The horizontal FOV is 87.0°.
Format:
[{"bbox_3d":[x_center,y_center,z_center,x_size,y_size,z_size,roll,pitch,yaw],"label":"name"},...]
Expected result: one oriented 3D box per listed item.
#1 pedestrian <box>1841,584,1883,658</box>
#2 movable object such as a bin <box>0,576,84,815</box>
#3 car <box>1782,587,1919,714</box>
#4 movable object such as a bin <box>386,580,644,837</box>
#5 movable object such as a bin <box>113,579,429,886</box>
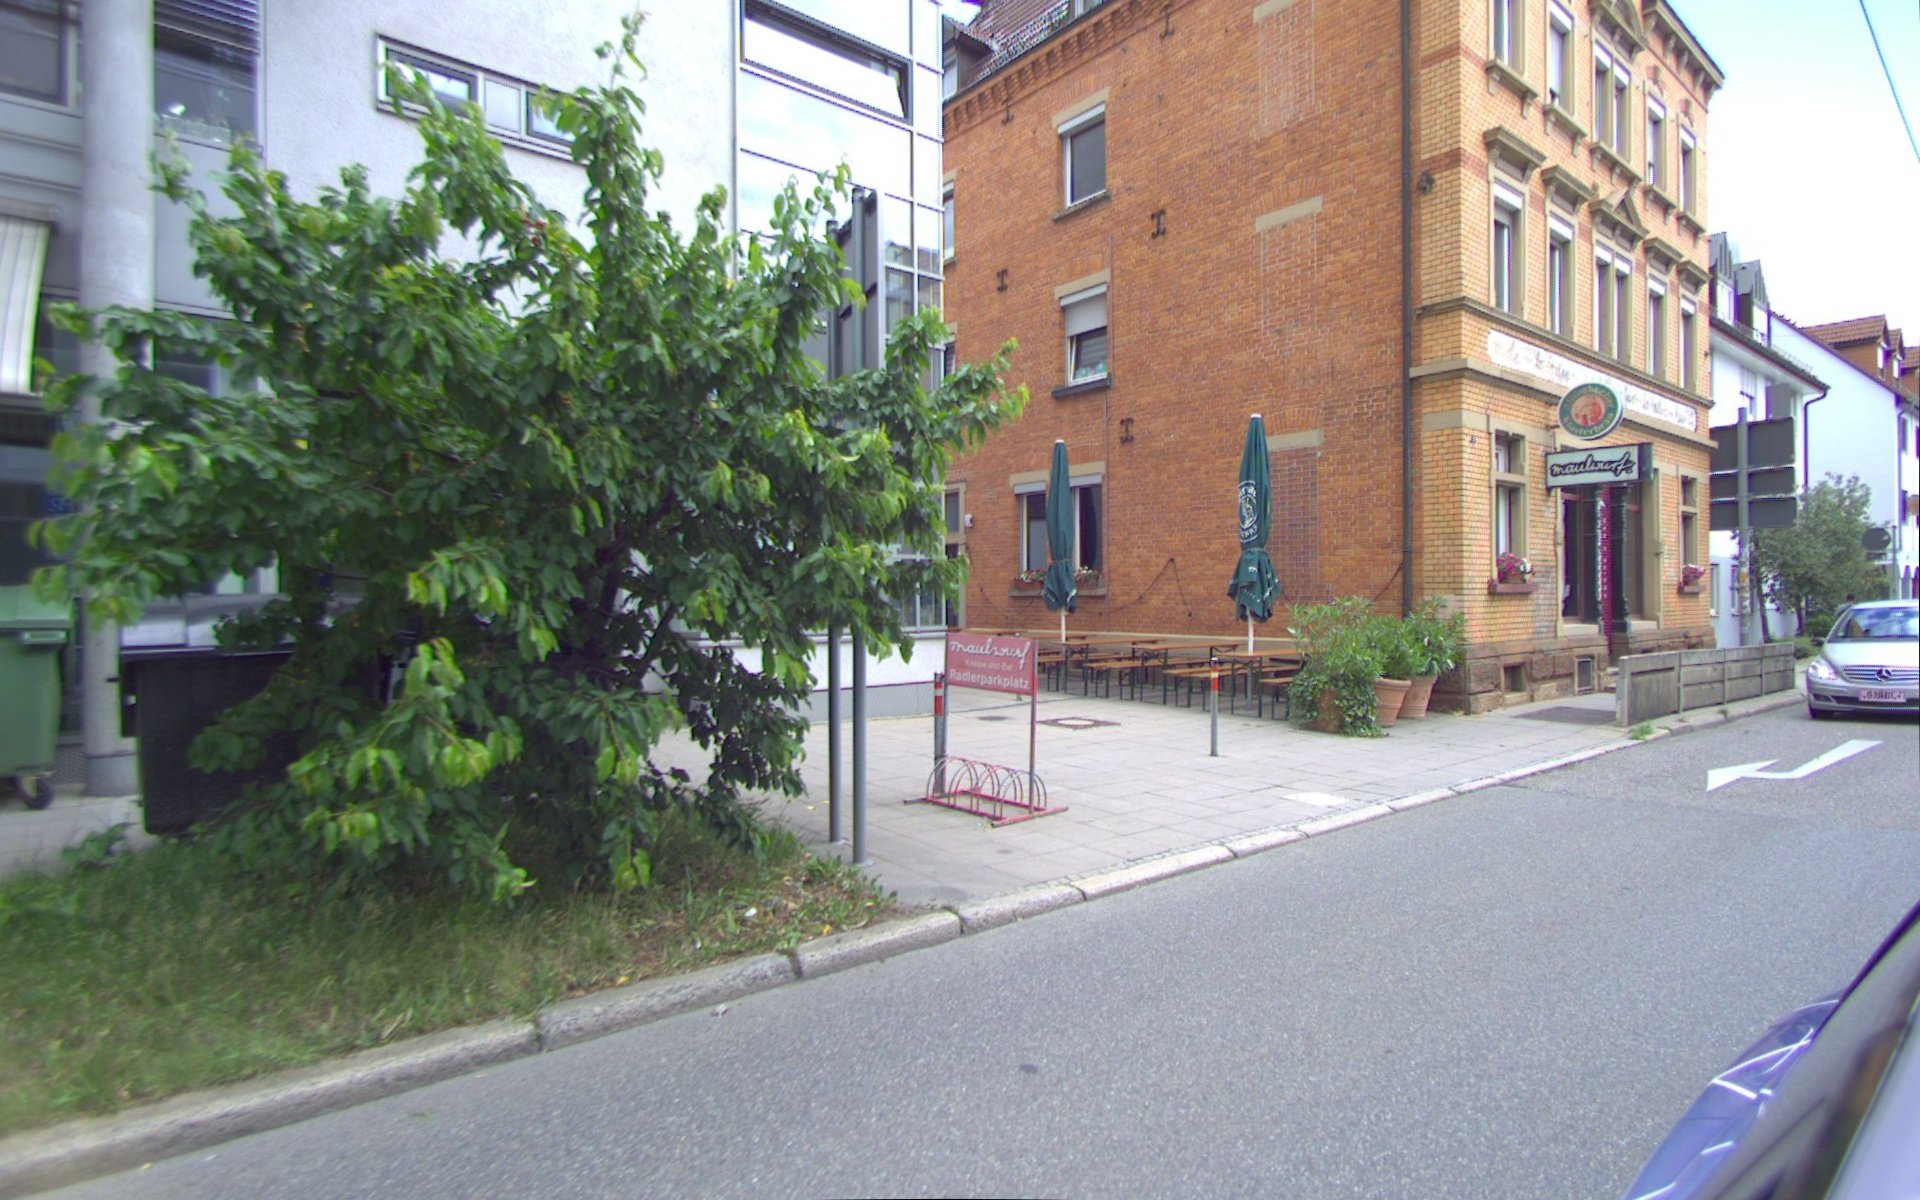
[{"bbox_3d":[21.619,0.485,24.254,0.638,1.752,0.689,0,0,-41],"label":"pedestrian"},{"bbox_3d":[-6.564,0.588,6.575,1.310,1.484,1.124,0,1,-41],"label":"movable object such as a bin"},{"bbox_3d":[13.386,0.618,14.081,4.487,1.566,1.998,-1,-2,-38],"label":"car"},{"bbox_3d":[-2.957,0.617,6.721,1.310,1.484,1.100,0,1,-41],"label":"movable object such as a bin"},{"bbox_3d":[-3.954,0.629,5.813,1.388,1.484,1.129,0,1,-41],"label":"movable object such as a bin"}]
